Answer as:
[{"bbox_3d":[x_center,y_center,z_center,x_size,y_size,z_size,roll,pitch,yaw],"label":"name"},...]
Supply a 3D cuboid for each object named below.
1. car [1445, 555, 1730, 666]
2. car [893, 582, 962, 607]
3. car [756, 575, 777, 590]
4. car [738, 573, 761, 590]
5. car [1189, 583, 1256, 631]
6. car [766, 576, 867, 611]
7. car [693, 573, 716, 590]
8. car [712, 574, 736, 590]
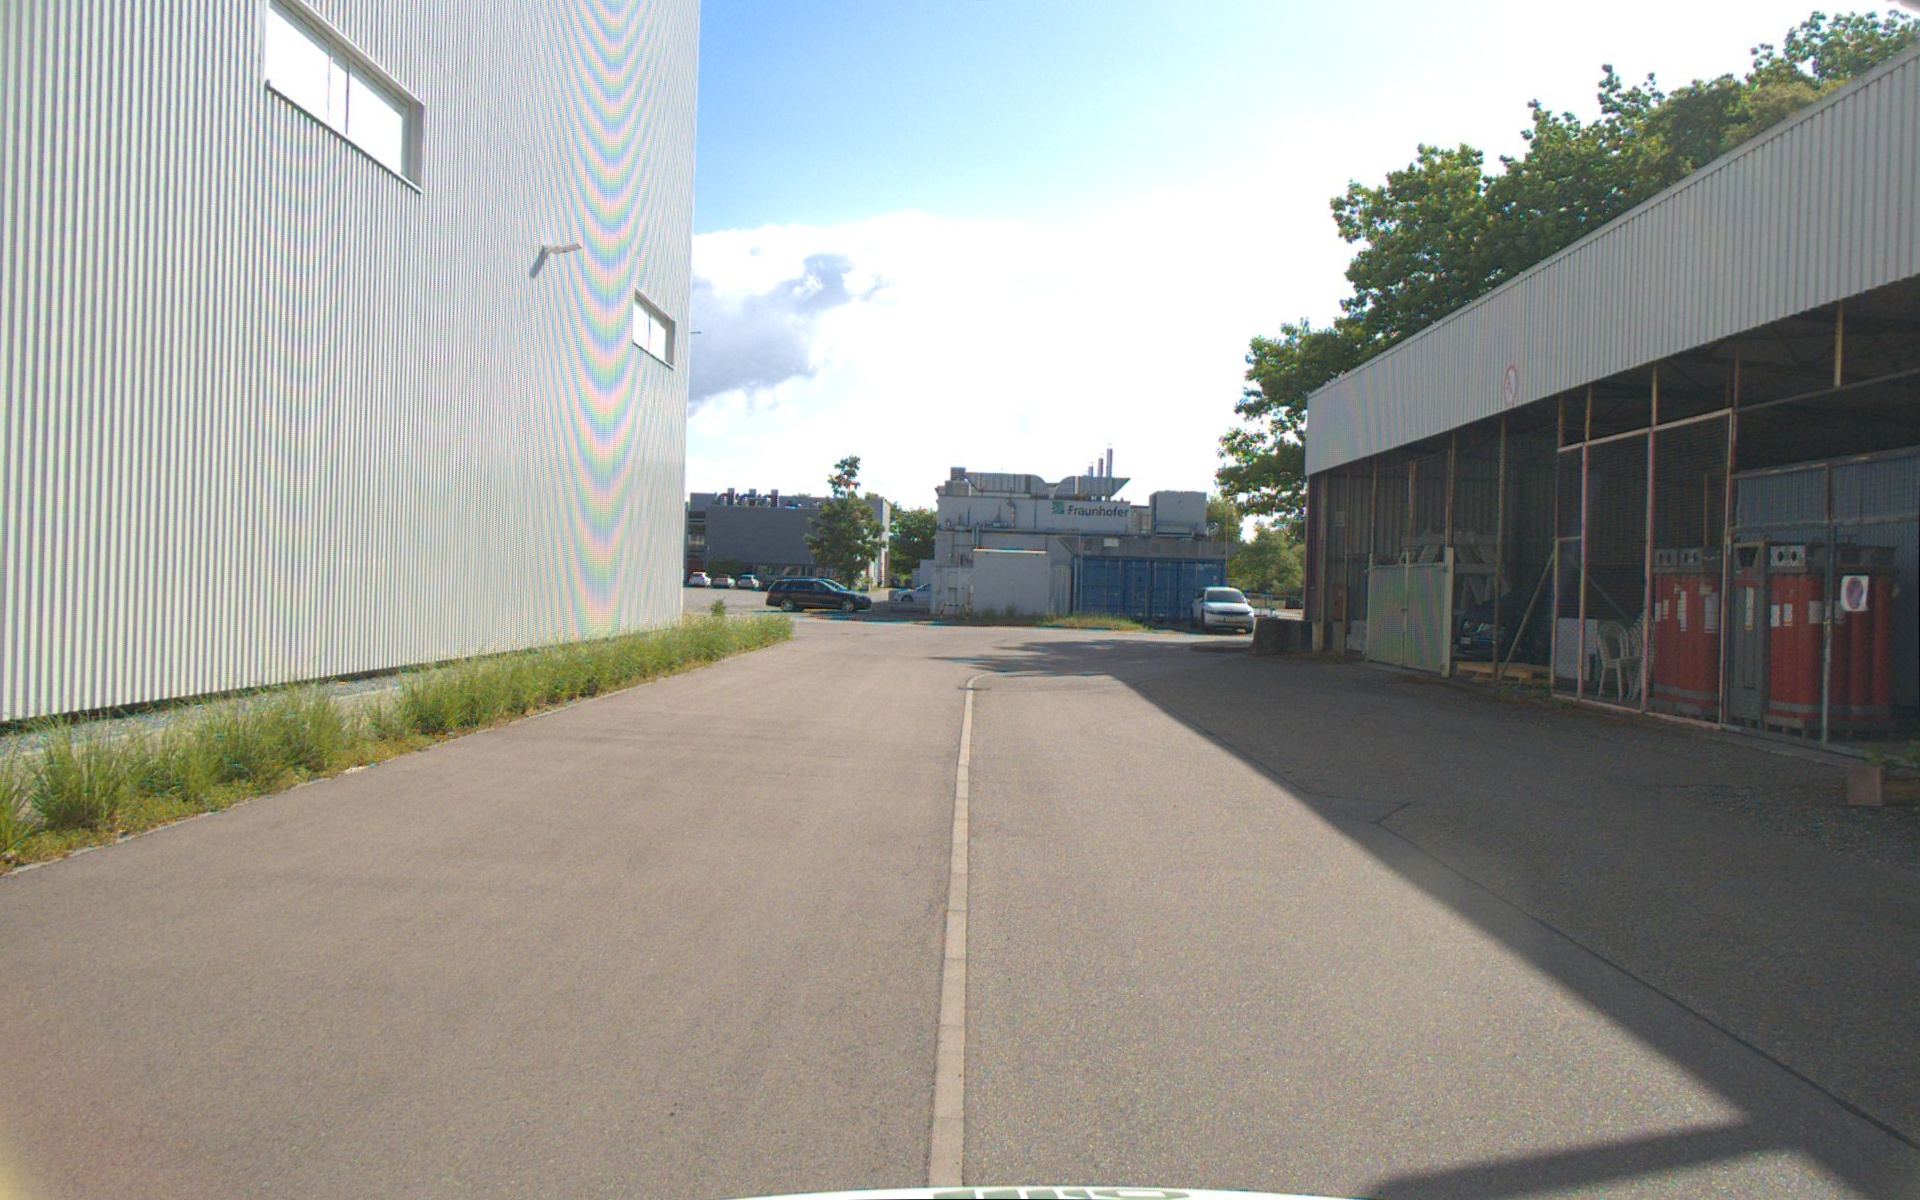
[{"bbox_3d":[11.882,0.204,31.457,4.679,1.949,1.997,1,0,-8],"label":"car"},{"bbox_3d":[-2.019,-0.322,102.370,4.214,1.483,1.824,0,0,0],"label":"car"},{"bbox_3d":[-19.878,-1.758,169.938,1.820,1.521,4.028,0,0,-1],"label":"car"},{"bbox_3d":[-21.890,-1.874,171.786,1.926,1.742,4.028,0,0,-1],"label":"car"},{"bbox_3d":[9.790,0.234,61.935,1.938,1.630,4.379,0,2,2],"label":"car"},{"bbox_3d":[-6.422,-0.287,74.502,4.356,1.558,1.824,0,0,0],"label":"car"},{"bbox_3d":[-26.512,-1.909,171.776,1.761,1.742,4.047,0,0,-1],"label":"car"},{"bbox_3d":[-24.434,-1.859,171.375,1.937,1.707,3.999,0,0,-1],"label":"car"}]
